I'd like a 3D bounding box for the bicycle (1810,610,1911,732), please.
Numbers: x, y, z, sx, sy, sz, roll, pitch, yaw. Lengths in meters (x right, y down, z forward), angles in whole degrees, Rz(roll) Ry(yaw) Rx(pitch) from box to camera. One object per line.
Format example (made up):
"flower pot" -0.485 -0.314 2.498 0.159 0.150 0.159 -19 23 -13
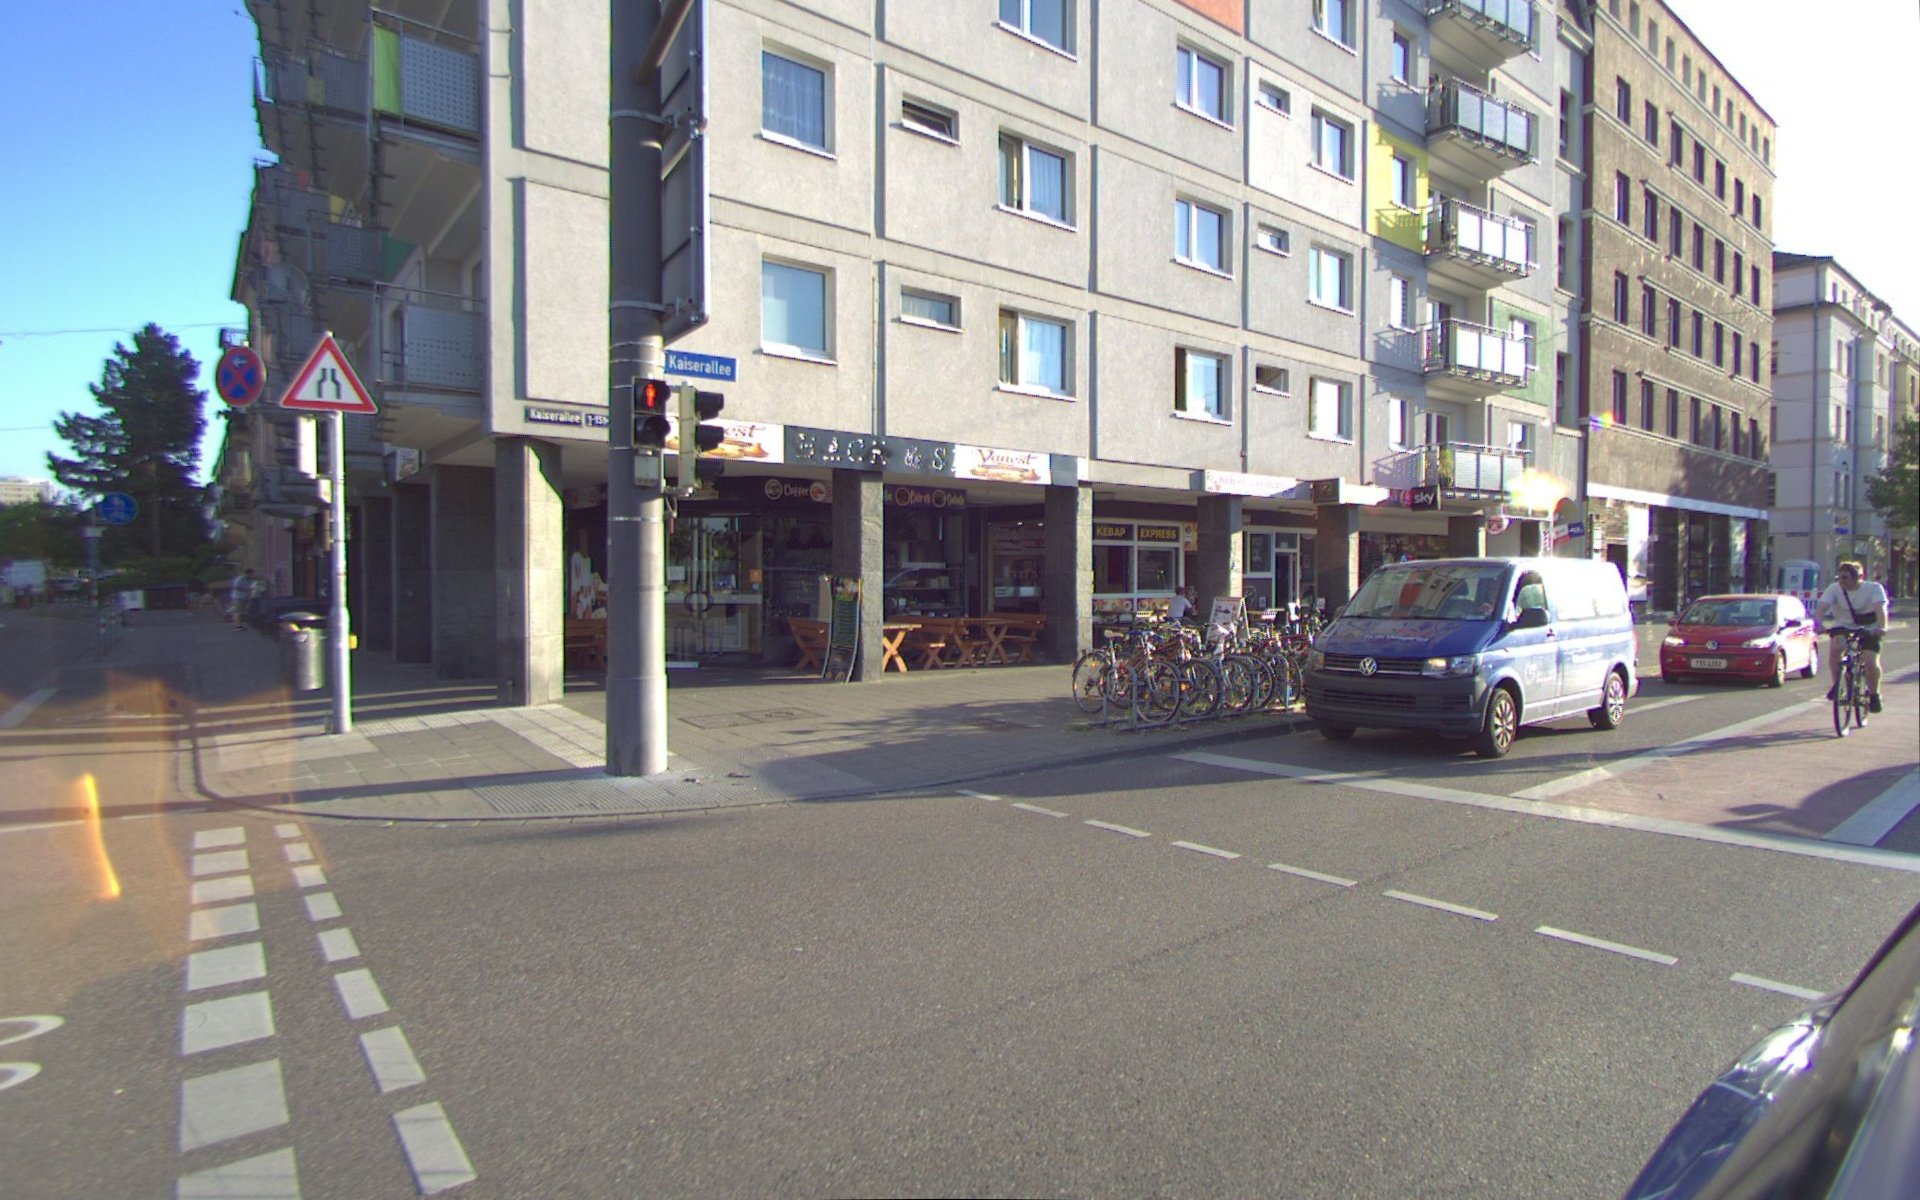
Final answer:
"bicycle" 9.797 0.727 10.989 1.816 1.173 0.530 -1 0 -39

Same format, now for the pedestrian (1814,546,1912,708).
"pedestrian" 9.738 0.268 10.915 0.828 1.669 0.639 -1 0 -39

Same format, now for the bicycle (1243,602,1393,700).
"bicycle" 4.876 0.658 13.883 0.558 1.139 1.871 -1 4 -41

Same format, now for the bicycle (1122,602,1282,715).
"bicycle" 2.882 0.660 12.246 0.558 1.139 1.871 -1 4 -41

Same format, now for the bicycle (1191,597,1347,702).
"bicycle" 3.942 0.597 13.041 0.558 1.139 1.871 -1 4 -41

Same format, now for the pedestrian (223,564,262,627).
"pedestrian" -20.996 -0.139 29.611 0.722 1.797 0.703 1 1 31

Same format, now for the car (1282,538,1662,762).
"car" 5.755 0.374 11.114 4.745 1.957 1.941 -1 2 -39

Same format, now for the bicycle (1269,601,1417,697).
"bicycle" 5.341 0.645 14.211 0.558 1.139 1.871 -1 4 -41

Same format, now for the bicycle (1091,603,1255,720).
"bicycle" 2.450 0.669 11.863 0.596 1.139 1.871 -1 4 -41

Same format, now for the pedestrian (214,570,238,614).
"pedestrian" -27.404 -0.302 37.783 0.698 1.596 0.727 -1 2 -39

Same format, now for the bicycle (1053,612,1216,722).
"bicycle" 1.923 0.706 11.383 0.596 1.074 1.871 -1 2 -40

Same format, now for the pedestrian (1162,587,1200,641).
"pedestrian" 4.648 0.290 21.268 0.641 1.113 0.539 0 1 30

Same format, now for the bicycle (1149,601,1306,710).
"bicycle" 3.301 0.650 12.633 0.558 1.139 1.871 -1 4 -41

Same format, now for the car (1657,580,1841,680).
"car" 13.528 0.452 17.313 3.475 1.499 1.687 -1 0 -38

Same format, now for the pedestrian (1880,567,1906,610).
"pedestrian" 35.421 -0.455 38.434 0.868 1.616 0.603 -1 1 -39

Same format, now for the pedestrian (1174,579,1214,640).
"pedestrian" 5.072 0.189 21.966 0.634 1.289 0.861 0 1 -1

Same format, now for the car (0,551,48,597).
"car" -57.697 -1.614 62.327 2.054 2.755 4.542 -1 2 -40

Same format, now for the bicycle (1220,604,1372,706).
"bicycle" 4.442 0.688 13.511 0.558 1.139 1.871 -1 4 -41

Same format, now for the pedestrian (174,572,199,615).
"pedestrian" -29.446 -0.252 38.535 0.699 1.596 0.727 -1 2 -40
